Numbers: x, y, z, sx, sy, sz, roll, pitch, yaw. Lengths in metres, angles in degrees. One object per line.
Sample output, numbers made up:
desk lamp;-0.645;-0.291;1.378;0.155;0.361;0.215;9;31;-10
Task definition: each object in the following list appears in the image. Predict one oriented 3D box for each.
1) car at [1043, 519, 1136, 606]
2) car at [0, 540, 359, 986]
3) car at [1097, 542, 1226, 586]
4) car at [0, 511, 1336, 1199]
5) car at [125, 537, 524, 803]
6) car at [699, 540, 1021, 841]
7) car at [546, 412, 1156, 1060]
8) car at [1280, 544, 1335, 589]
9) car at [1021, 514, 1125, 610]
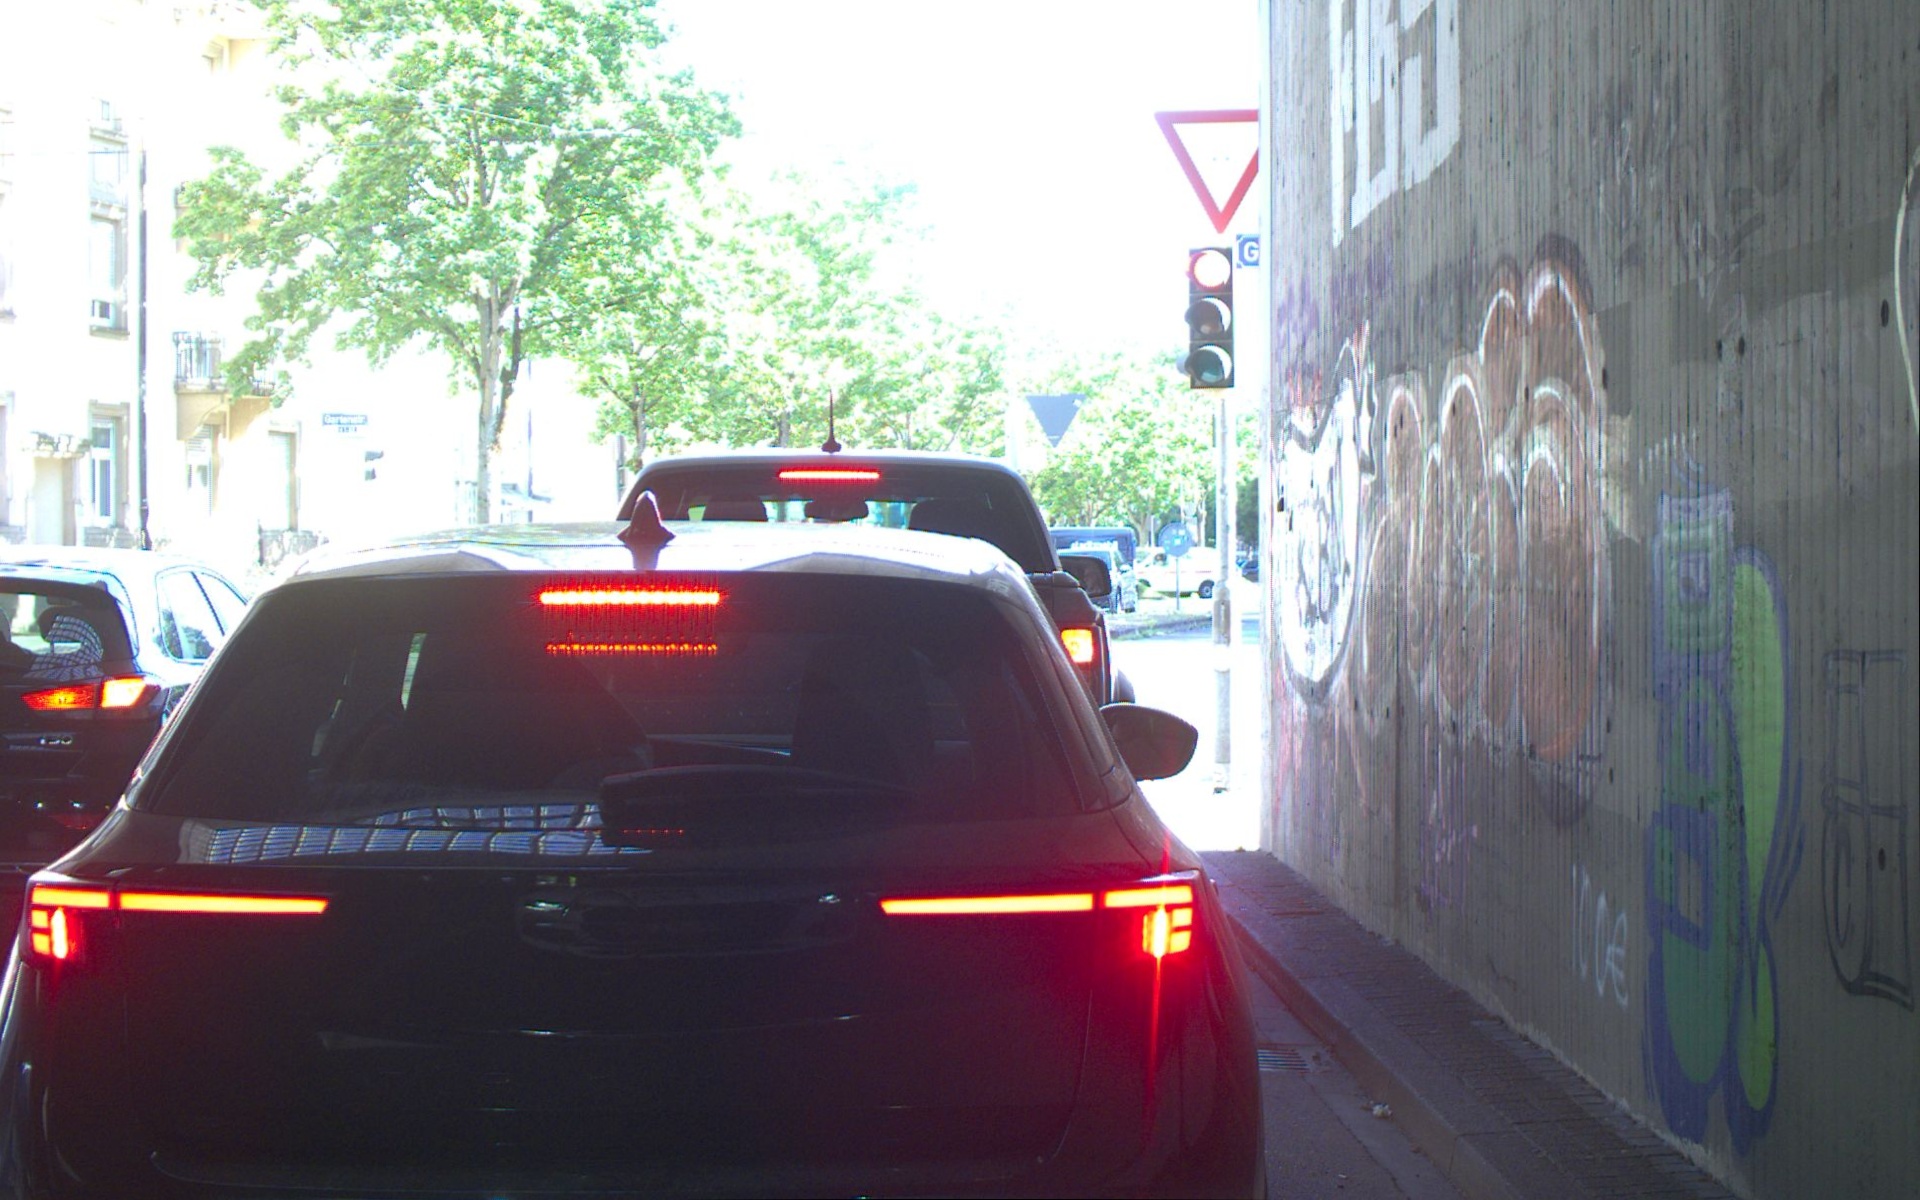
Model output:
car;2.594;-0.746;68.291;1.754;1.661;3.944;1;1;3
car;-3.516;0.506;13.263;1.762;1.475;3.844;0;1;-1
car;7.861;-1.392;134.228;4.799;1.661;1.823;0;1;-30
car;-0.465;0.625;6.076;1.762;1.526;4.089;0;1;-1
car;-3.768;0.356;20.987;1.762;1.475;3.844;0;1;-1
car;-0.525;0.419;19.236;1.609;1.508;4.054;0;1;-1
car;-0.338;0.360;12.016;1.762;1.876;4.146;0;1;-1
car;13.268;-1.261;131.194;1.754;1.661;3.943;1;1;11
car;2.075;-0.689;62.172;1.754;1.661;3.944;1;1;3
